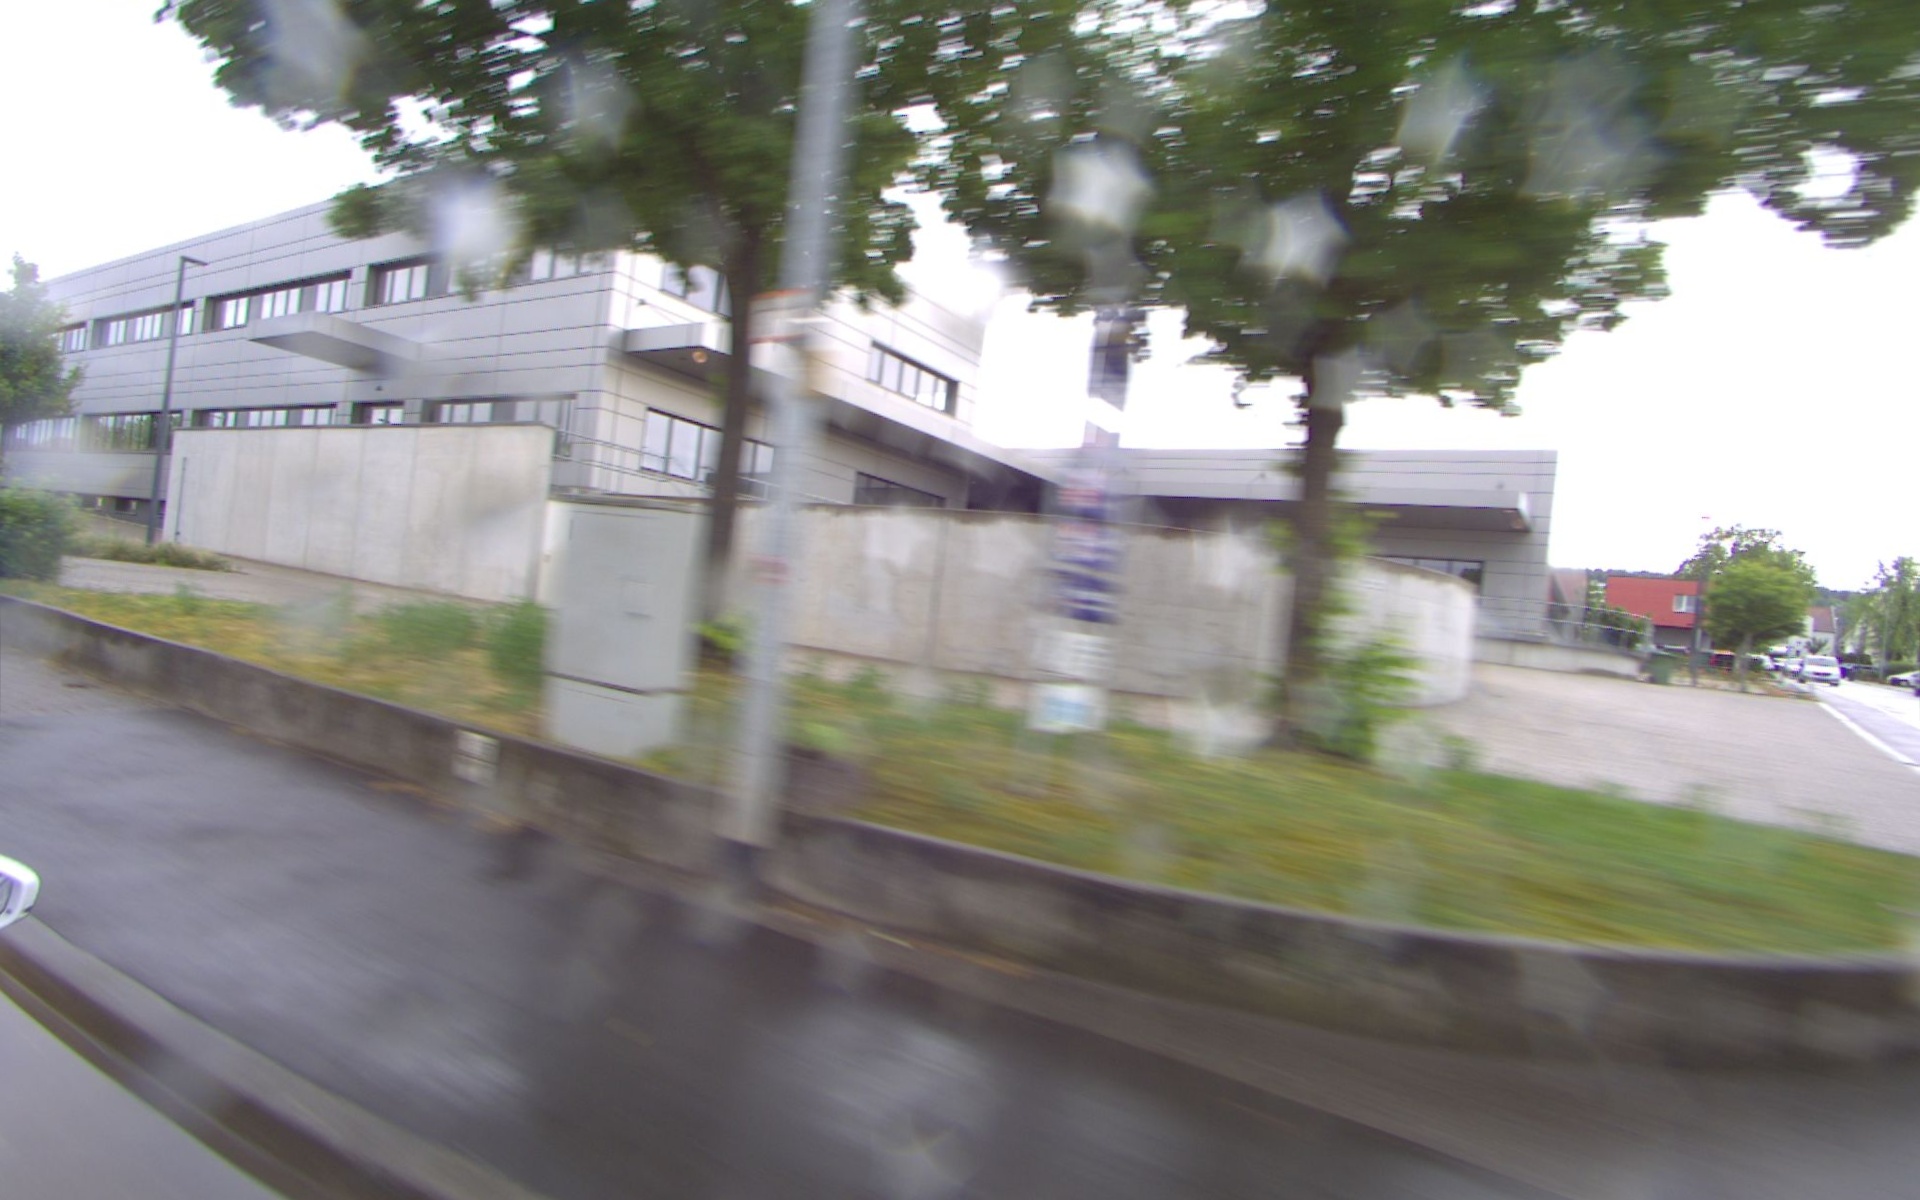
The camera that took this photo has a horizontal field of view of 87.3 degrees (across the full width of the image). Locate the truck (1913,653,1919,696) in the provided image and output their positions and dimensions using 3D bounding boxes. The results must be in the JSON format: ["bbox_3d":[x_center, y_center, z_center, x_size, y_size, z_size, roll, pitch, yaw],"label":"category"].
[{"bbox_3d":[51.763,3.869,52.558,2.138,2.264,5.863,7,-2,39],"label":"truck"}]

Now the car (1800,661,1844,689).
[{"bbox_3d":[56.278,4.942,65.733,1.612,1.436,3.992,7,-2,35],"label":"car"}]
